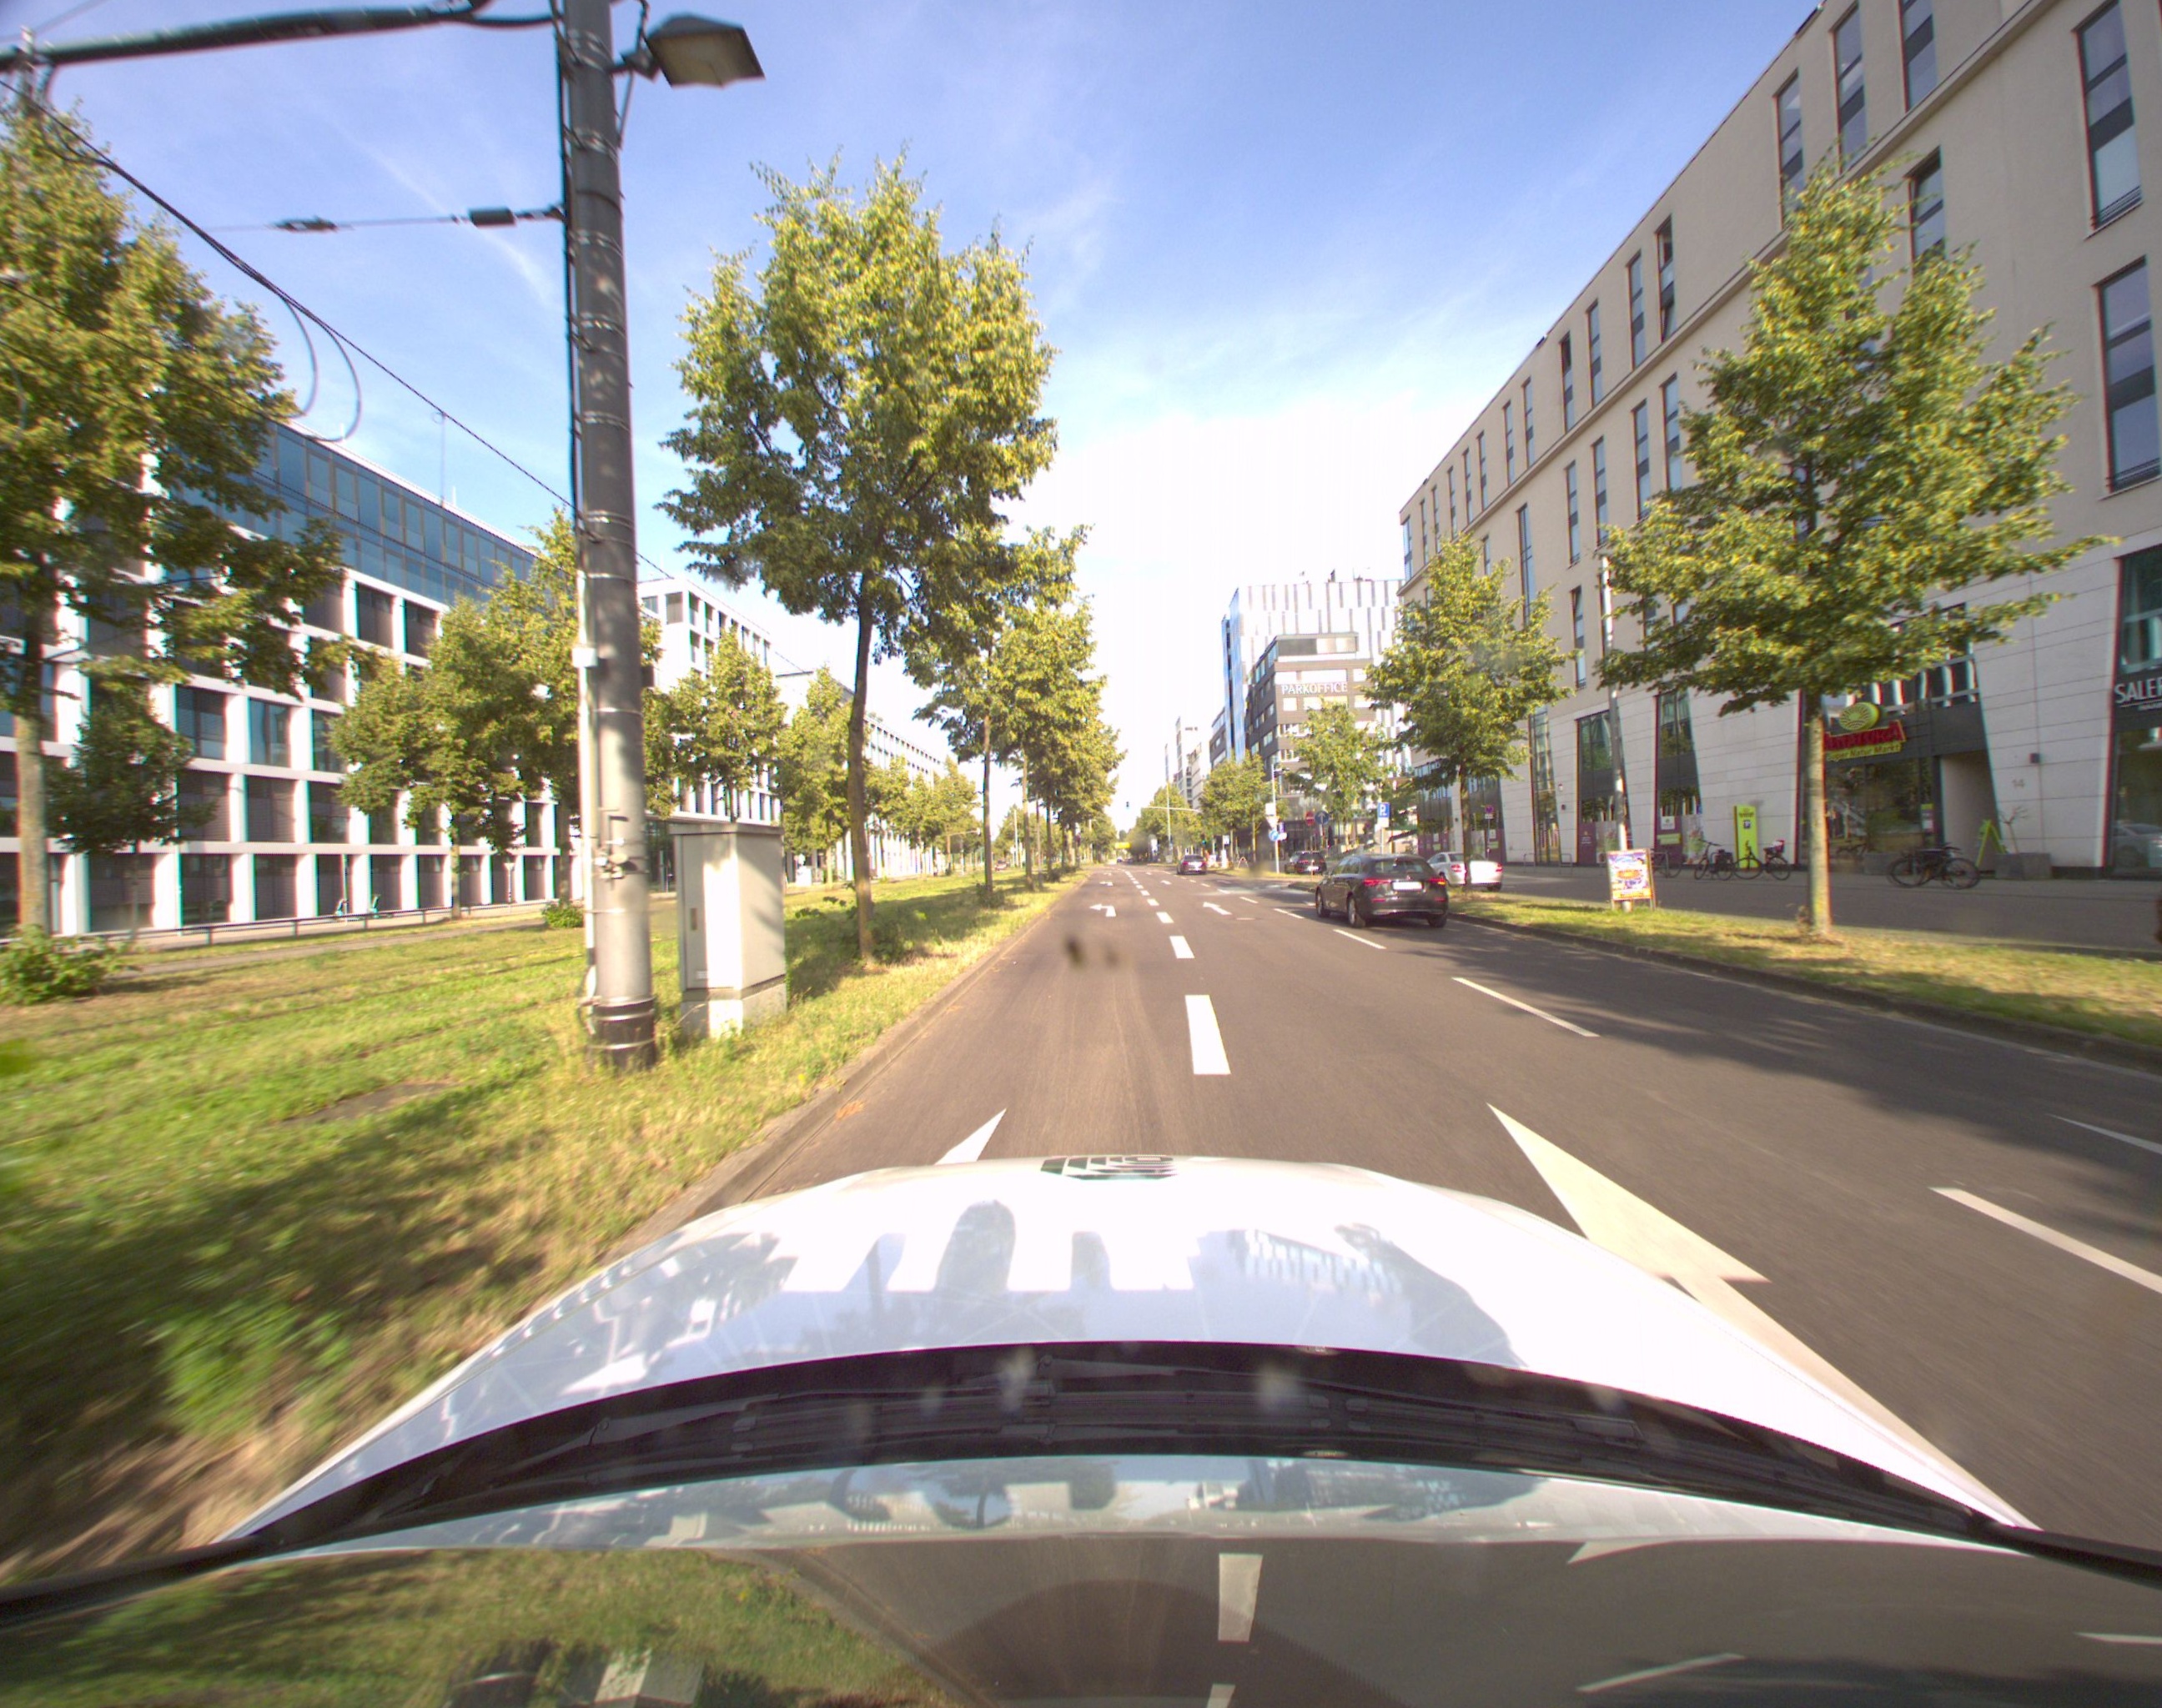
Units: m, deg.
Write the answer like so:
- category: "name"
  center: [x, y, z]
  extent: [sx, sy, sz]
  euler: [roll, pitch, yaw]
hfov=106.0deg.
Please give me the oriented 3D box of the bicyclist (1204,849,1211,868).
- category: "bicyclist"
  center: [11.561, 0.442, 74.456]
  extent: [0.573, 1.707, 0.540]
  euler: [-1, -1, -2]

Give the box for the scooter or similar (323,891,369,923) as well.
- category: "scooter or similar"
  center: [-34.554, 2.475, 38.273]
  extent: [1.919, 1.477, 0.415]
  euler: [-1, -1, 5]

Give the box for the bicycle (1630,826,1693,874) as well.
- category: "bicycle"
  center: [19.569, -0.107, 27.507]
  extent: [0.553, 1.571, 2.278]
  euler: [-1, -1, 3]

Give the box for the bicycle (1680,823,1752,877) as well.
- category: "bicycle"
  center: [19.319, -0.087, 24.838]
  extent: [0.553, 1.567, 2.214]
  euler: [-1, -1, 3]

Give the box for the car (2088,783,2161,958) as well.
- category: "car"
  center: [11.509, 0.162, 6.227]
  extent: [1.890, 1.708, 4.678]
  euler: [-1, 0, 1]

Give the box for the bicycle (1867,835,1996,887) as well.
- category: "bicycle"
  center: [19.002, 0.167, 18.253]
  extent: [0.634, 1.084, 1.895]
  euler: [-2, -1, -13]

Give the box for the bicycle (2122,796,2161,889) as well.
- category: "bicycle"
  center: [18.979, -0.212, 13.529]
  extent: [0.553, 1.619, 2.214]
  euler: [-1, -1, 3]

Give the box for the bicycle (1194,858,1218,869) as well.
- category: "bicycle"
  center: [11.416, 0.857, 74.432]
  extent: [2.128, 1.013, 0.571]
  euler: [-1, -1, -2]

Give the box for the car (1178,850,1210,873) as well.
- category: "car"
  center: [7.862, 0.531, 56.730]
  extent: [1.852, 1.524, 3.787]
  euler: [-1, -1, 2]

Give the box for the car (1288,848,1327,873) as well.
- category: "car"
  center: [13.223, 0.372, 47.665]
  extent: [1.598, 1.370, 4.165]
  euler: [-1, -1, 7]

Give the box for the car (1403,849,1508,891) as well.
- category: "car"
  center: [12.125, 0.509, 26.644]
  extent: [1.702, 1.242, 3.906]
  euler: [-1, -1, 1]

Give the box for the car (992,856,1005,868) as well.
- category: "car"
  center: [-12.451, 1.176, 123.102]
  extent: [1.679, 1.775, 3.880]
  euler: [-1, -1, -1]

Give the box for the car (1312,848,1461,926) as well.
- category: "car"
  center: [6.176, 0.635, 16.959]
  extent: [1.767, 1.424, 3.963]
  euler: [-1, -1, 3]

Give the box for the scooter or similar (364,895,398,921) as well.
- category: "scooter or similar"
  center: [-34.759, 2.673, 40.462]
  extent: [0.333, 1.226, 1.304]
  euler: [-1, -1, 15]
